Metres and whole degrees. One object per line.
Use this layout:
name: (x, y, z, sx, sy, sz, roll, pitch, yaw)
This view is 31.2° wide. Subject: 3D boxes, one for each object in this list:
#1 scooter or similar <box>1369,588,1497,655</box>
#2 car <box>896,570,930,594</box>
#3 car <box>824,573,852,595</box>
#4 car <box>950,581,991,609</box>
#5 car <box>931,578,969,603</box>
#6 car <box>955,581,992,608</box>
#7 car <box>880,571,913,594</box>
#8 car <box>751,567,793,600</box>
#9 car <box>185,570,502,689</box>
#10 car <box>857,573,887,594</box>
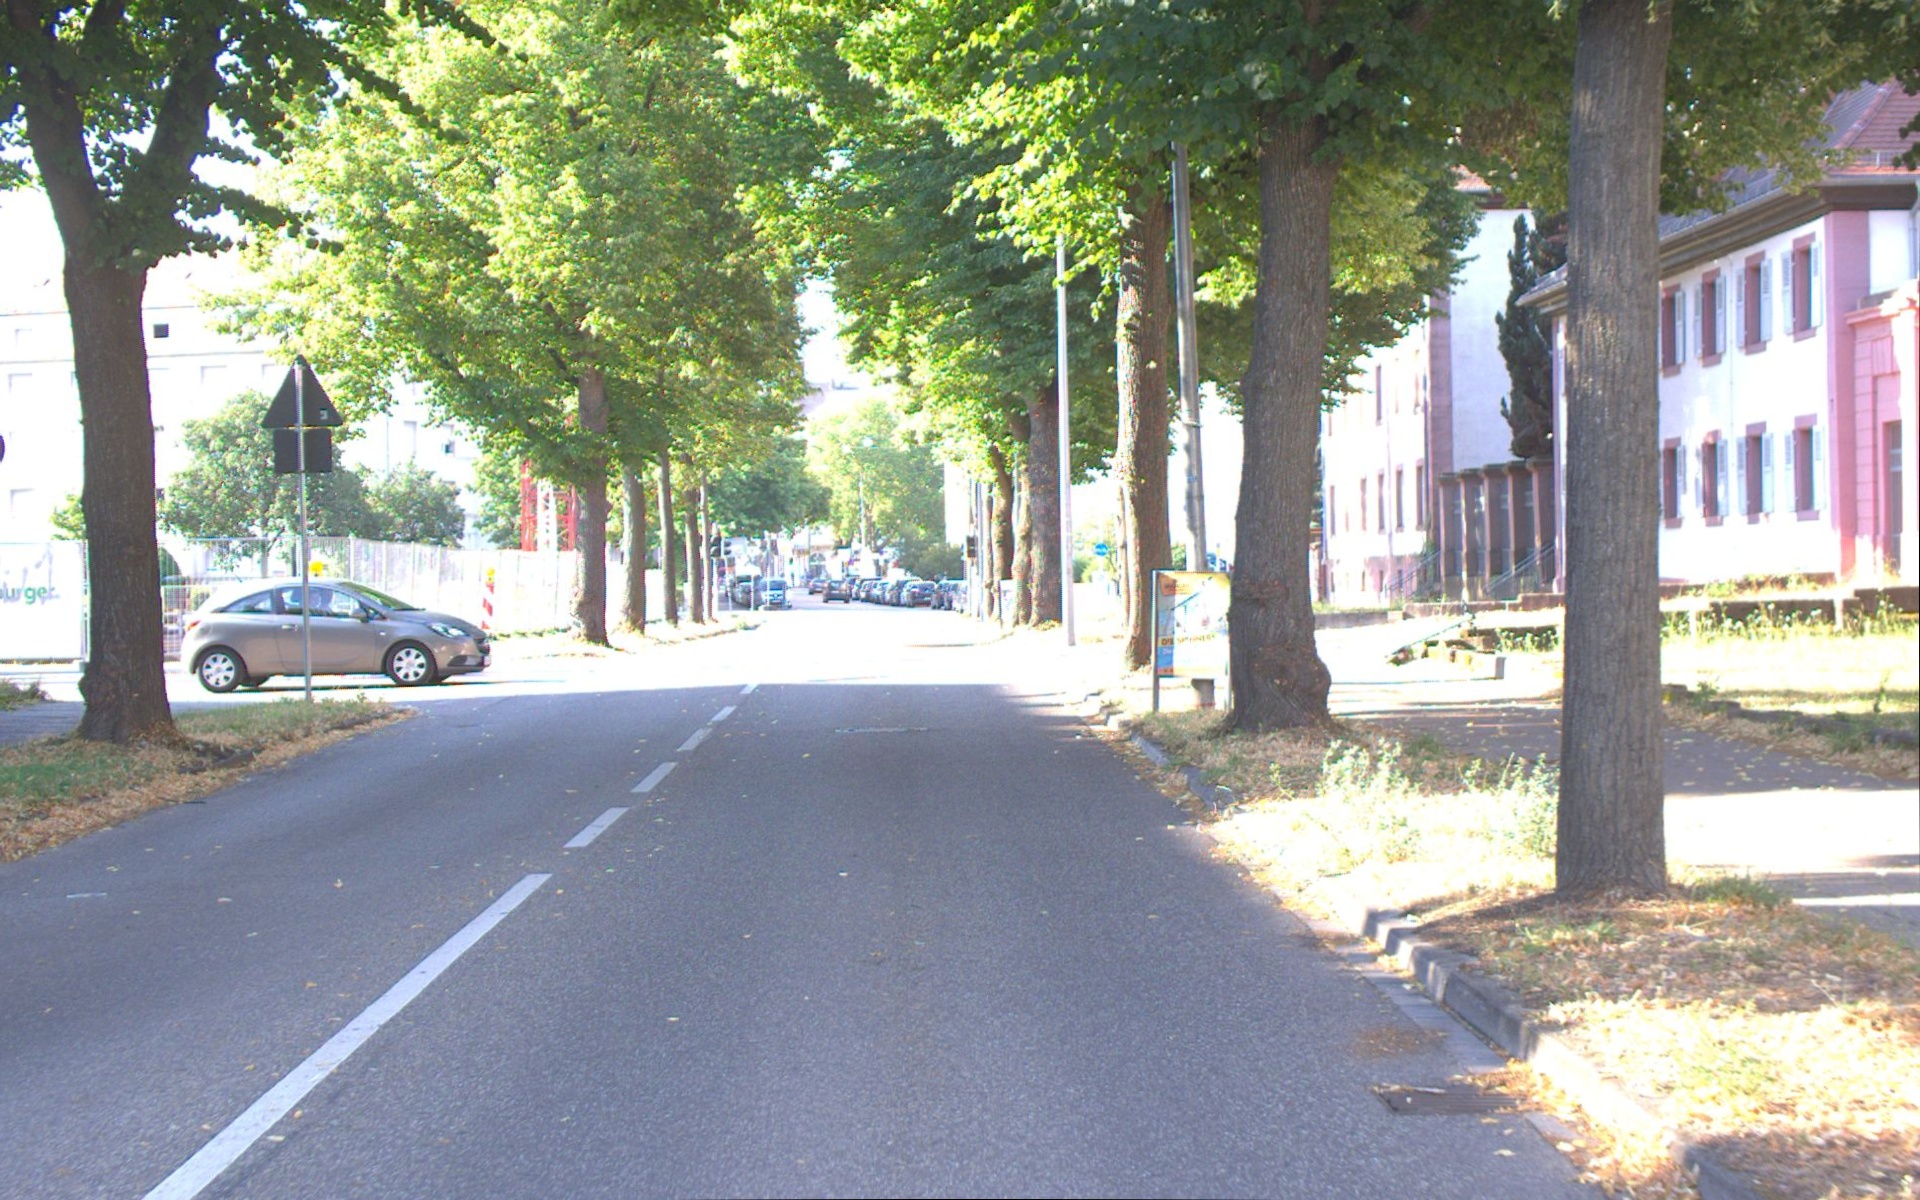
scooter or similar: (5.412, 0.239, 39.392, 1.225, 0.547, 1.064, -10, 1, -1)
car: (-2.888, -1.119, 210.067, 1.841, 1.381, 4.000, -2, 0, -4)
car: (-8.529, -1.109, 239.523, 1.714, 1.481, 4.000, -2, 0, -4)
car: (0.490, -0.239, 163.671, 1.841, 1.257, 4.000, -2, 0, -1)
car: (-0.530, -0.490, 180.665, 1.841, 1.257, 4.000, -2, 0, -1)
car: (0.666, -0.287, 174.059, 1.841, 1.256, 4.000, -1, 1, 0)
car: (-4.117, -1.156, 221.862, 1.841, 1.381, 4.001, -1, 1, -4)
car: (-10.182, -0.874, 185.927, 1.993, 1.682, 4.001, -2, 0, -6)
car: (-8.114, 0.378, 45.437, 3.844, 1.468, 1.651, -1, 1, 1)
car: (-6.204, -1.185, 242.447, 1.841, 1.381, 4.000, -2, 0, -4)
